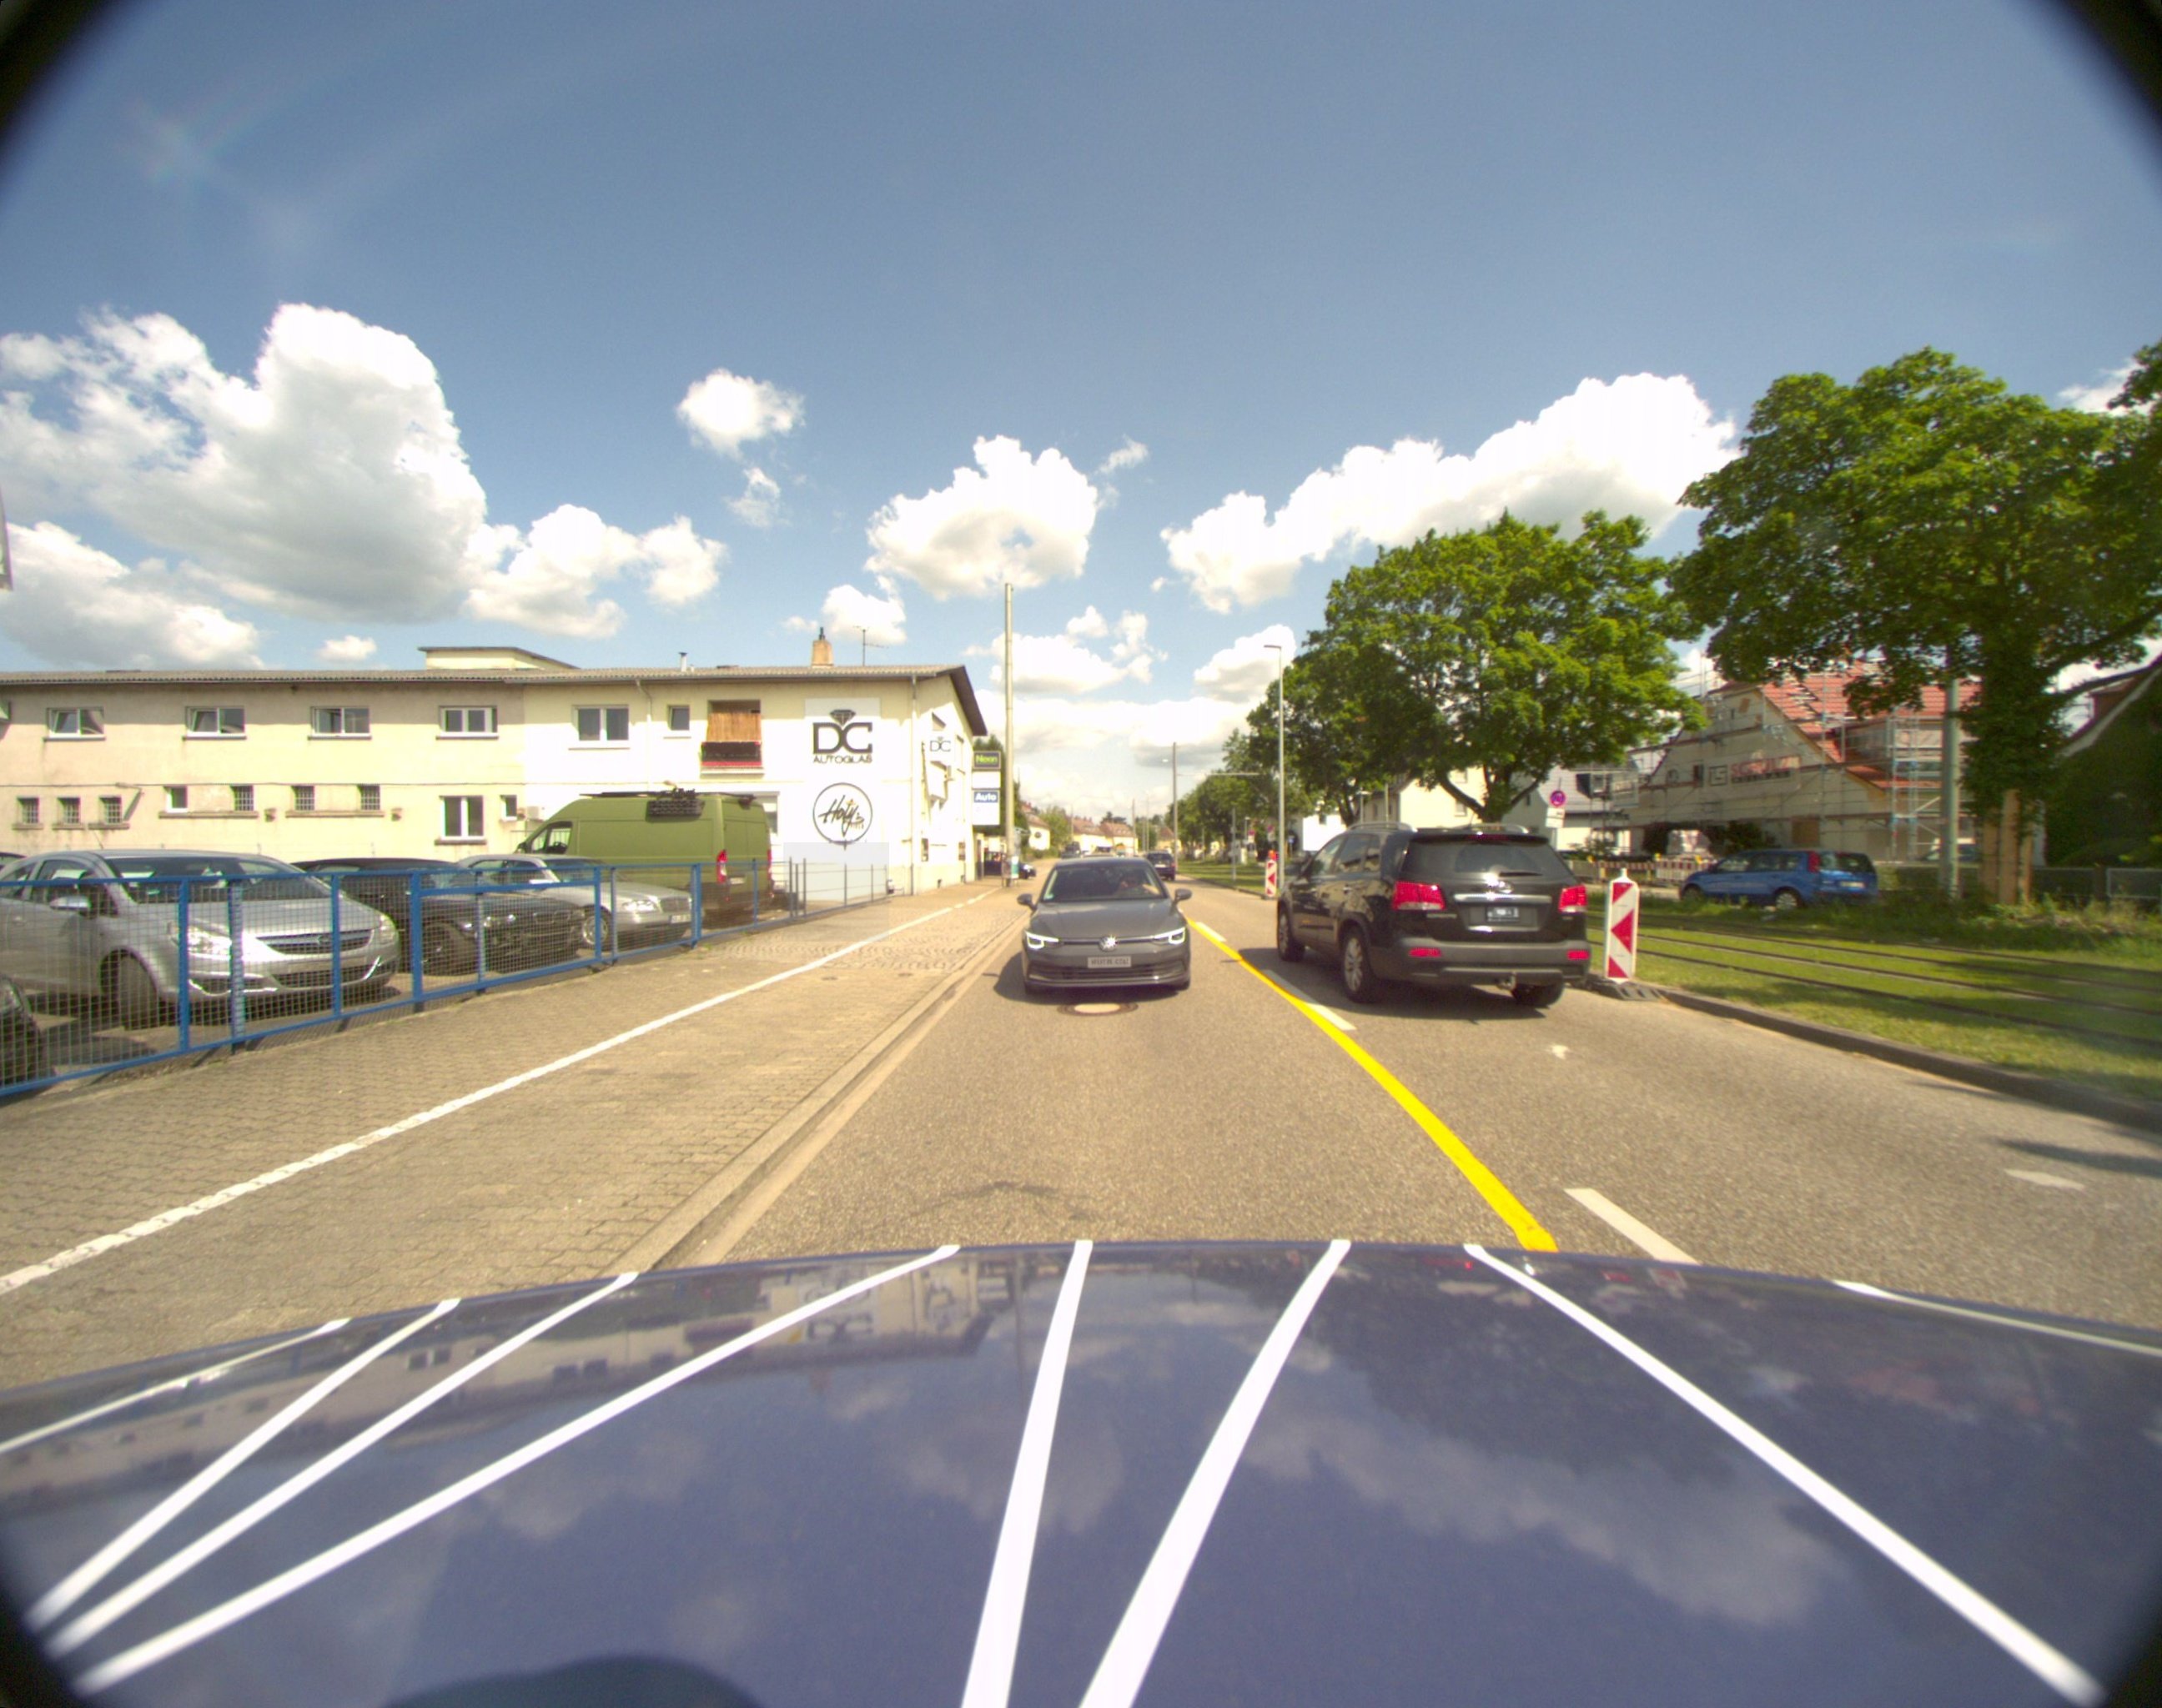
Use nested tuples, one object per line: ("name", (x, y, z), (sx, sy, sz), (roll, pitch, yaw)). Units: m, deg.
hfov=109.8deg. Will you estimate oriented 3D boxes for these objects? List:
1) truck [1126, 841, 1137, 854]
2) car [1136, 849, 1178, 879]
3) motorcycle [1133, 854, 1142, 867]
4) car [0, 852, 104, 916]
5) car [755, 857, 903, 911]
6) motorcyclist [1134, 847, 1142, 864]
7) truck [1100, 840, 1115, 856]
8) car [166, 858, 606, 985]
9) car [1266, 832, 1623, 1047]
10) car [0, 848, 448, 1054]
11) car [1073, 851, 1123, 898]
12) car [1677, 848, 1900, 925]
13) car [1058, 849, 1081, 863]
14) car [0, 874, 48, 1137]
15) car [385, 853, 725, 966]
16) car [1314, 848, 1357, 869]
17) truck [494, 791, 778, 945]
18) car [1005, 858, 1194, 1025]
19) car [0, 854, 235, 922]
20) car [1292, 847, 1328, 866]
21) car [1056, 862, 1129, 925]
("truck", (12.188, -1.578, 183.640), (2.665, 2.787, 7.539), (-2, 1, 4))
("car", (4.008, 0.511, 40.620), (1.715, 1.478, 4.535), (1, 1, 0))
("motorcycle", (5.025, 0.574, 67.765), (0.706, 1.036, 2.465), (0, 1, 1))
("car", (-24.537, 0.696, 16.809), (1.426, 1.371, 3.327), (-2, 1, 2))
("car", (-7.271, 0.843, 22.093), (3.725, 1.350, 1.518), (-2, 1, 5))
("motorcyclist", (5.103, 0.135, 68.106), (0.651, 1.434, 0.588), (0, 2, 1))
("truck", (5.224, -1.234, 147.733), (2.631, 2.872, 7.924), (-2, 1, 3))
("car", (-8.630, 0.807, 9.616), (4.257, 1.366, 1.741), (-1, 1, 8))
("car", (3.386, 0.661, 8.130), (1.801, 1.680, 4.220), (1, 1, 1))
("car", (-8.503, 0.786, 7.158), (4.254, 1.496, 1.829), (-2, 1, 18))
("car", (0.608, 0.668, 26.925), (1.594, 1.418, 3.707), (-2, 1, 1))
("car", (16.481, 0.675, 18.010), (1.672, 1.504, 3.930), (-2, 1, 1))
("car", (-1.171, 0.206, 77.993), (1.823, 1.412, 4.002), (0, 1, 7))
("car", (-8.076, 0.850, 4.172), (3.901, 1.455, 1.627), (1, 2, 18))
("car", (-8.198, 0.840, 12.026), (4.257, 1.499, 1.828), (-2, 1, 9))
("car", (17.189, 0.285, 51.428), (1.636, 1.294, 3.999), (-2, 1, 1))
("truck", (-8.503, 0.243, 14.851), (4.181, 2.645, 2.108), (-2, 2, 2))
("car", (0.249, 0.844, 9.372), (1.743, 1.410, 4.380), (-2, 1, 2))
("car", (-21.260, 0.688, 16.737), (1.453, 1.255, 3.276), (-2, 1, 2))
("car", (17.263, 0.159, 57.425), (1.636, 1.294, 3.999), (-2, 1, 1))
("car", (0.316, 0.875, 18.361), (1.555, 1.217, 3.729), (-2, 1, 2))
